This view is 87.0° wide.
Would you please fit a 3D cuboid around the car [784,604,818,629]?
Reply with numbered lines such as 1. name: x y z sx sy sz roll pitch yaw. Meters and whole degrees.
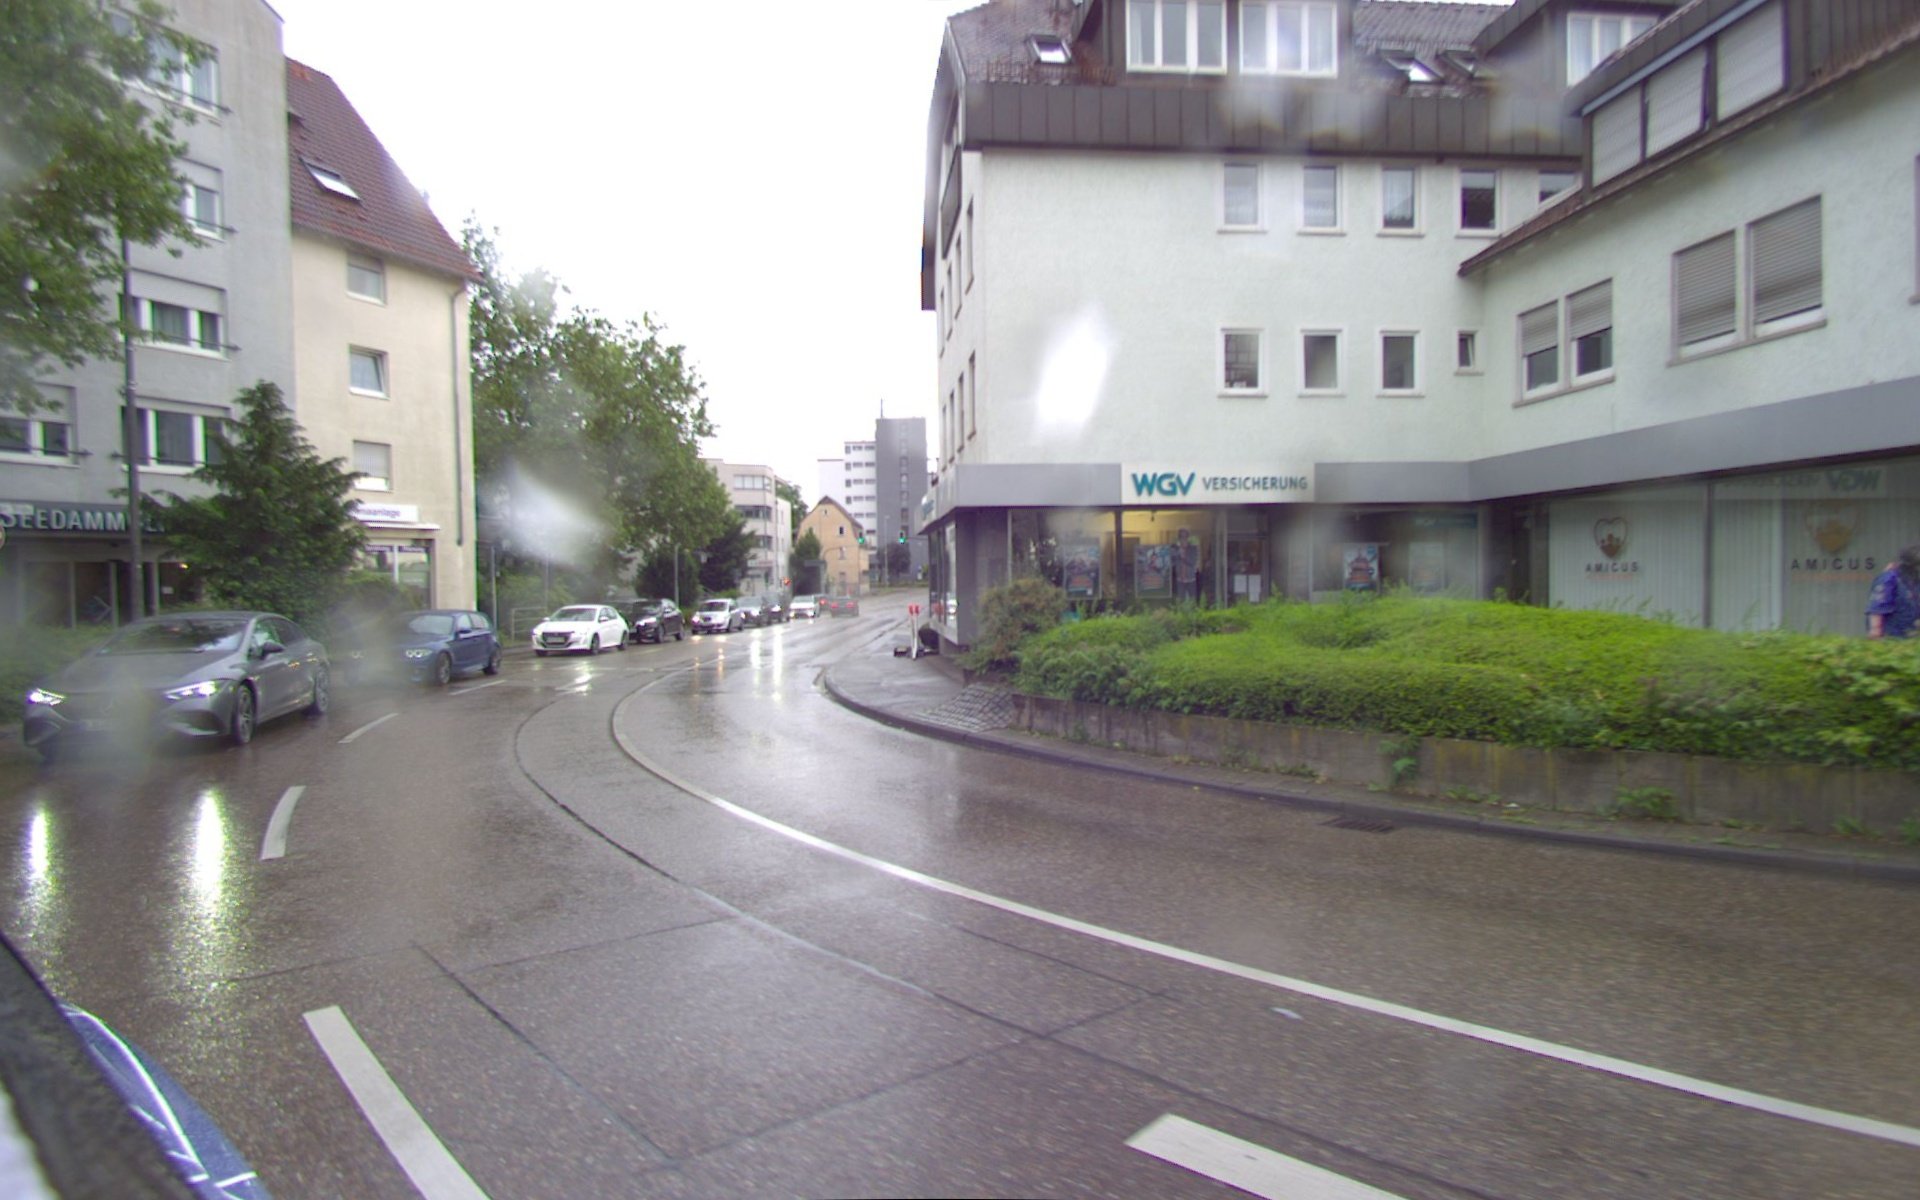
1. car: -10.912 1.123 69.723 1.970 1.564 4.004 -3 -1 -5

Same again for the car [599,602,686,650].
1. car: -11.521 0.899 36.999 1.790 1.577 3.998 -3 0 1

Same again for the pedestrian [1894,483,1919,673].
1. pedestrian: 9.596 -0.224 9.690 0.607 1.833 0.675 -2 0 -12

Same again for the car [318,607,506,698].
1. car: -10.721 0.943 20.181 1.747 1.544 4.384 -1 0 -6

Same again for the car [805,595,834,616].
1. car: -11.838 0.461 85.586 1.971 1.608 4.002 -2 0 -2

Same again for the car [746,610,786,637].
1. car: -11.587 1.373 60.740 1.827 1.489 4.003 -1 0 -3

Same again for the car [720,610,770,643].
1. car: -11.301 1.376 53.479 1.807 1.563 4.001 -3 0 -1

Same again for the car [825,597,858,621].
1. car: -8.183 0.615 70.322 1.789 1.577 4.000 -2 0 0

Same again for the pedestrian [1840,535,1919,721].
1. pedestrian: 8.962 0.246 9.466 0.607 1.684 0.865 -2 0 -11

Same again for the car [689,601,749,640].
1. car: -11.013 0.901 46.493 1.819 1.633 4.000 -1 0 -1

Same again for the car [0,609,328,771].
1. car: -9.302 0.897 12.125 1.966 1.504 4.327 -1 0 -19

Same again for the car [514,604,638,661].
1. car: -11.293 0.904 30.092 1.974 1.464 3.996 -2 1 3
